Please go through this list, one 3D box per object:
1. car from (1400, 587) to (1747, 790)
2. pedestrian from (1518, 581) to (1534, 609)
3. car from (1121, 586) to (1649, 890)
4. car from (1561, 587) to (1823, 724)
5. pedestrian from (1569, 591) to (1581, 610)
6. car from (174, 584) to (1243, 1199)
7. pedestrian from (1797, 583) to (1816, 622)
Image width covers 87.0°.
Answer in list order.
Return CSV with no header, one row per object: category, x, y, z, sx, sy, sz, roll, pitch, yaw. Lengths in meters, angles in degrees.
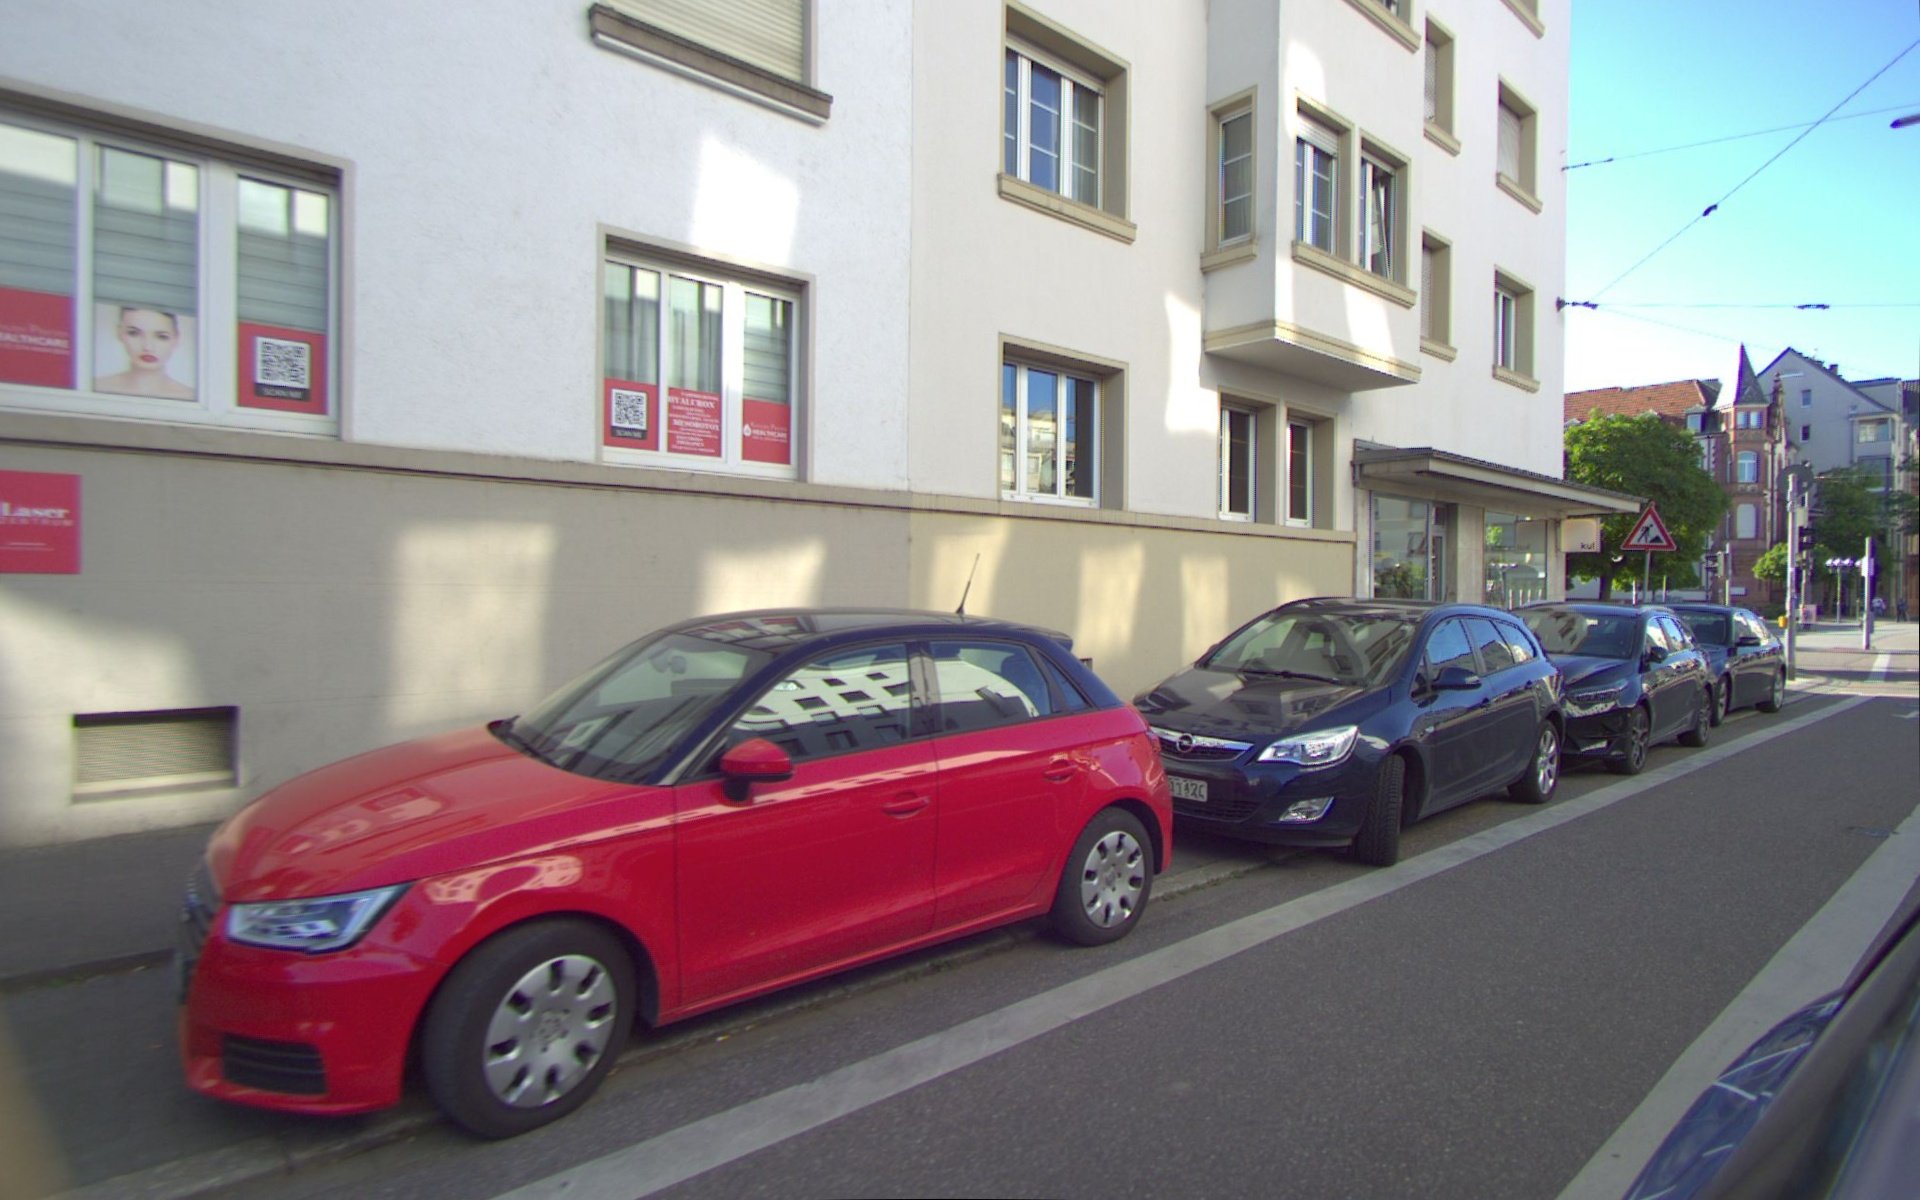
car,6.406,0.687,10.346,4.431,1.525,1.860,-1,4,-43
pedestrian,32.446,-0.296,58.016,0.640,1.622,0.699,0,1,14
car,3.242,0.710,7.387,4.022,1.525,1.862,-1,4,-40
car,10.313,0.625,14.115,4.831,1.525,1.753,-1,4,-40
pedestrian,35.658,0.022,58.696,0.445,1.096,0.449,0,1,10
car,-0.789,0.731,4.234,3.917,1.490,1.862,-1,4,-40
pedestrian,43.042,0.106,51.475,0.645,1.980,0.577,1,1,33
